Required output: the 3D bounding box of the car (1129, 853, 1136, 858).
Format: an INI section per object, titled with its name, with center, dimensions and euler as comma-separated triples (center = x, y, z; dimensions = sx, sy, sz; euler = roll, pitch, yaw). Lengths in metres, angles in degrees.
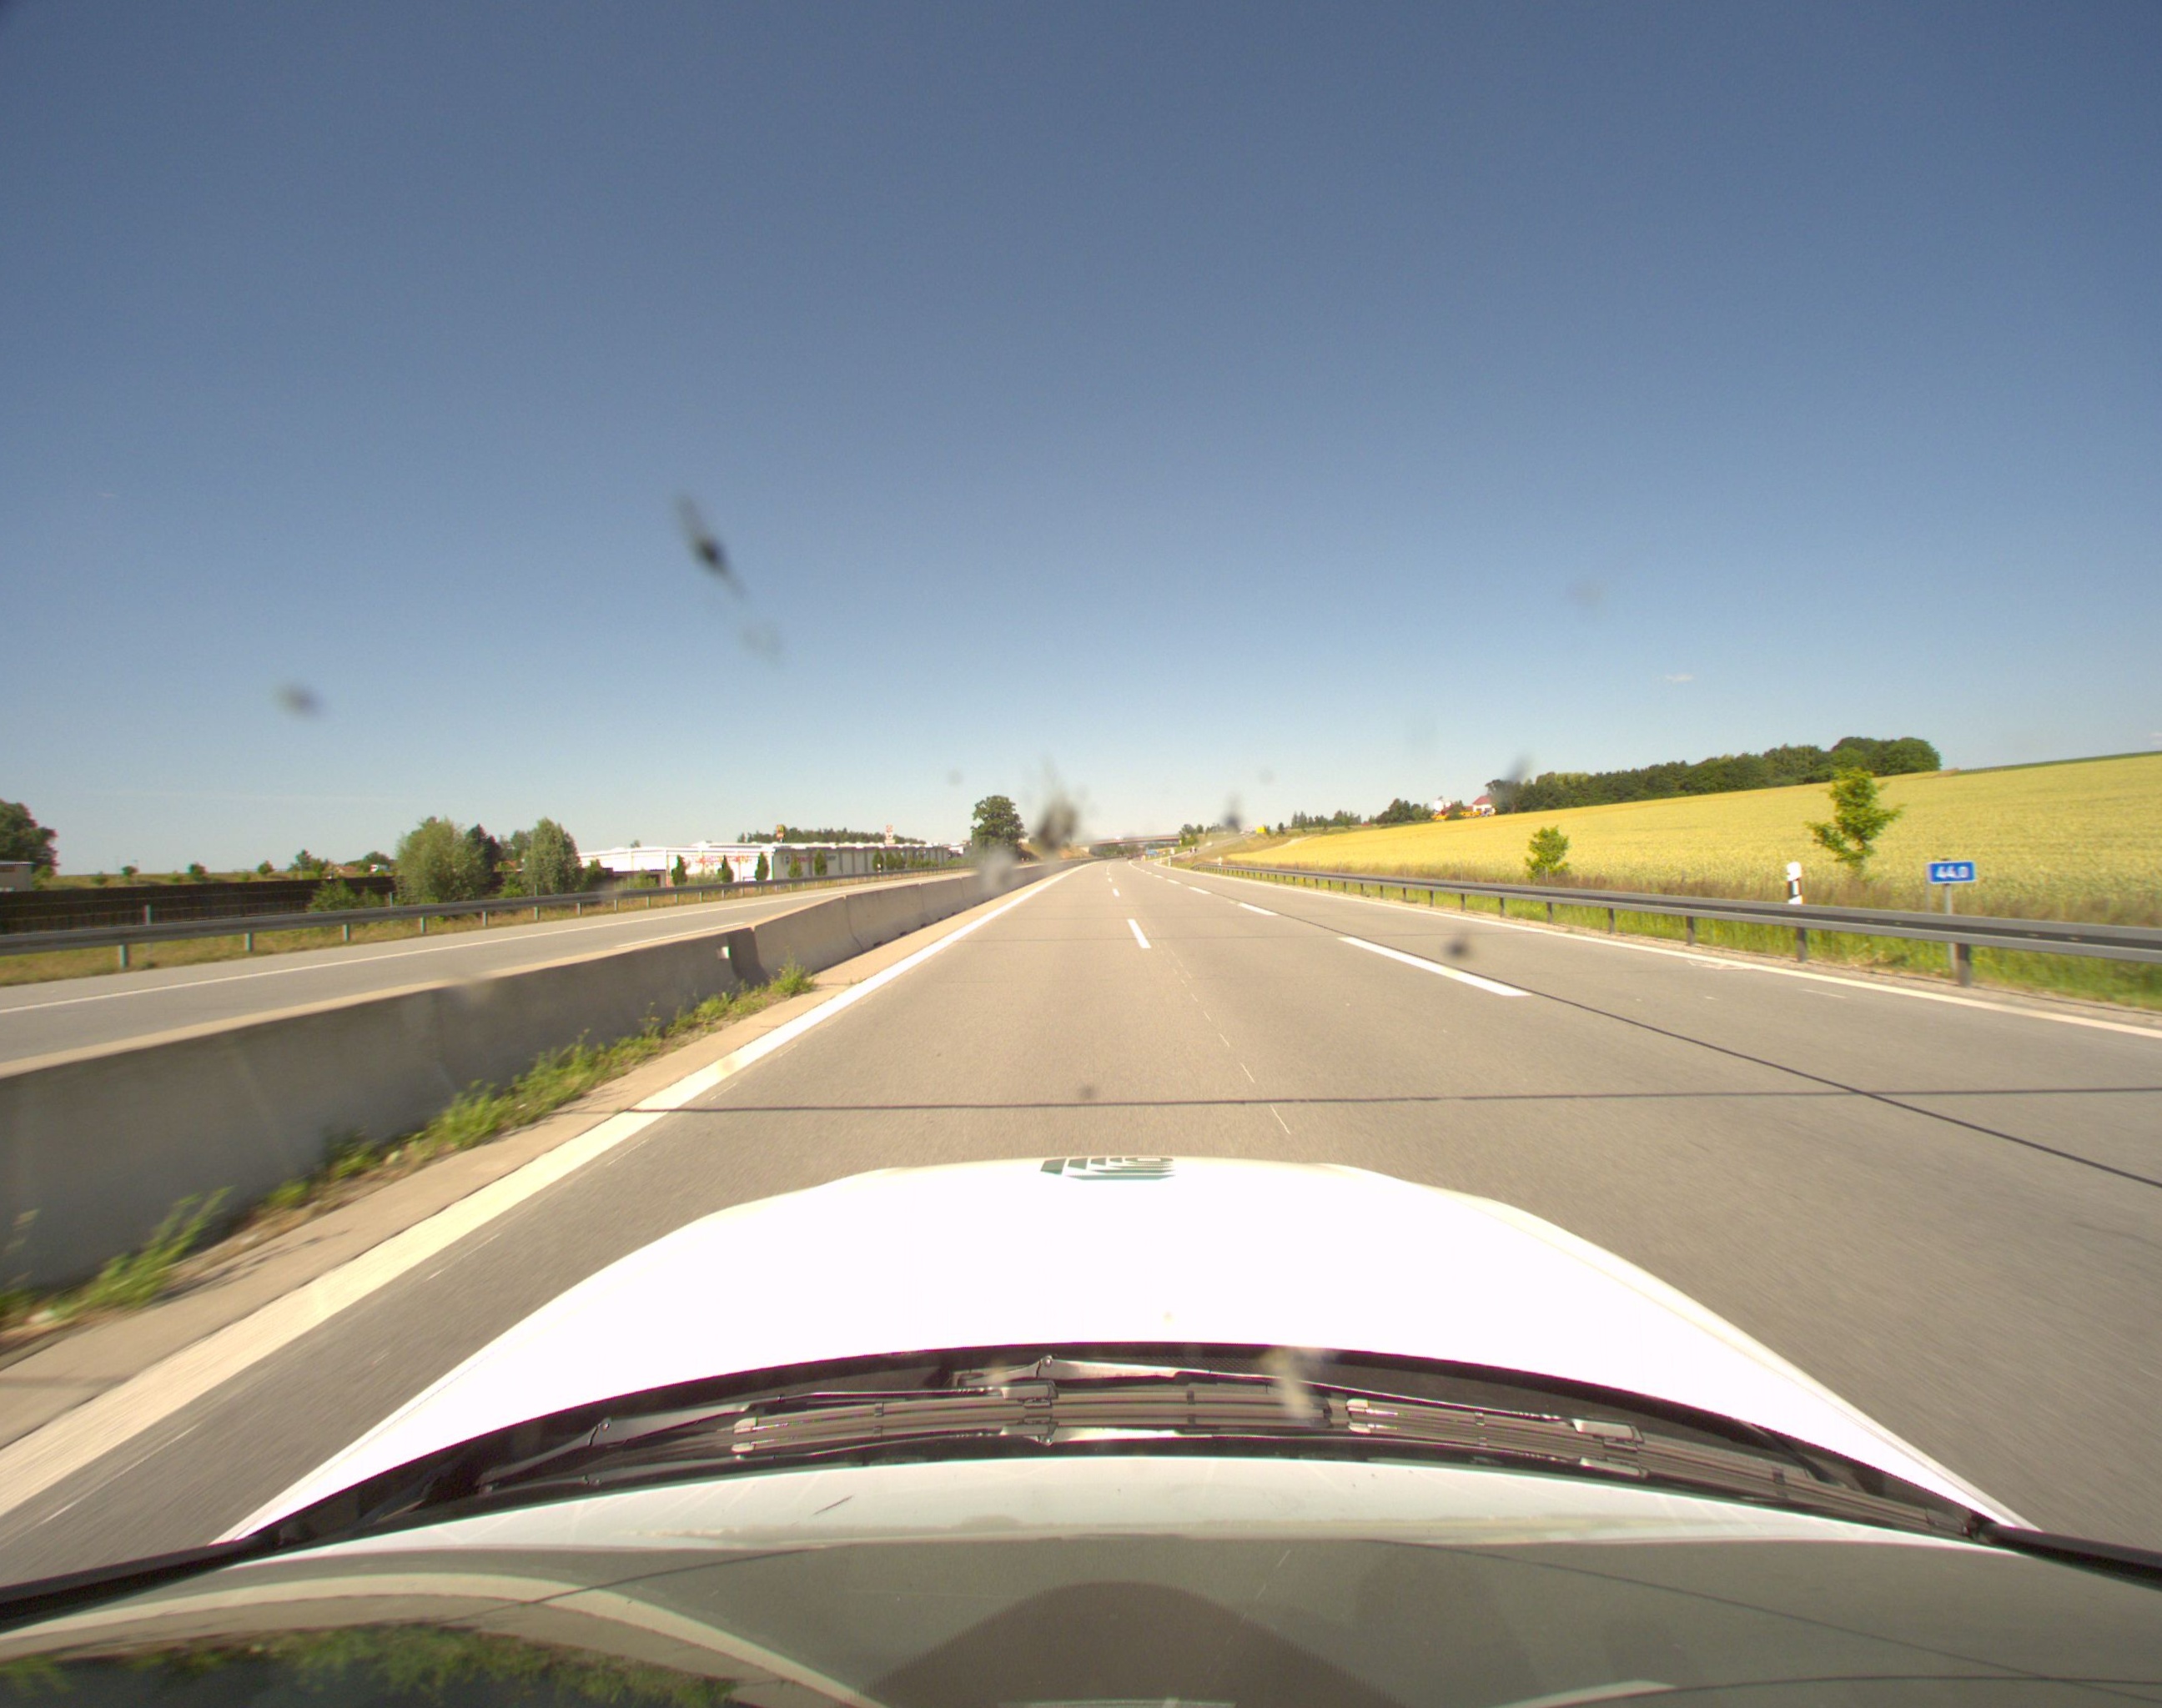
[car]
center = 16.313, 0.401, 256.000
dimensions = 1.984, 1.420, 4.005
euler = -3, 0, 4
